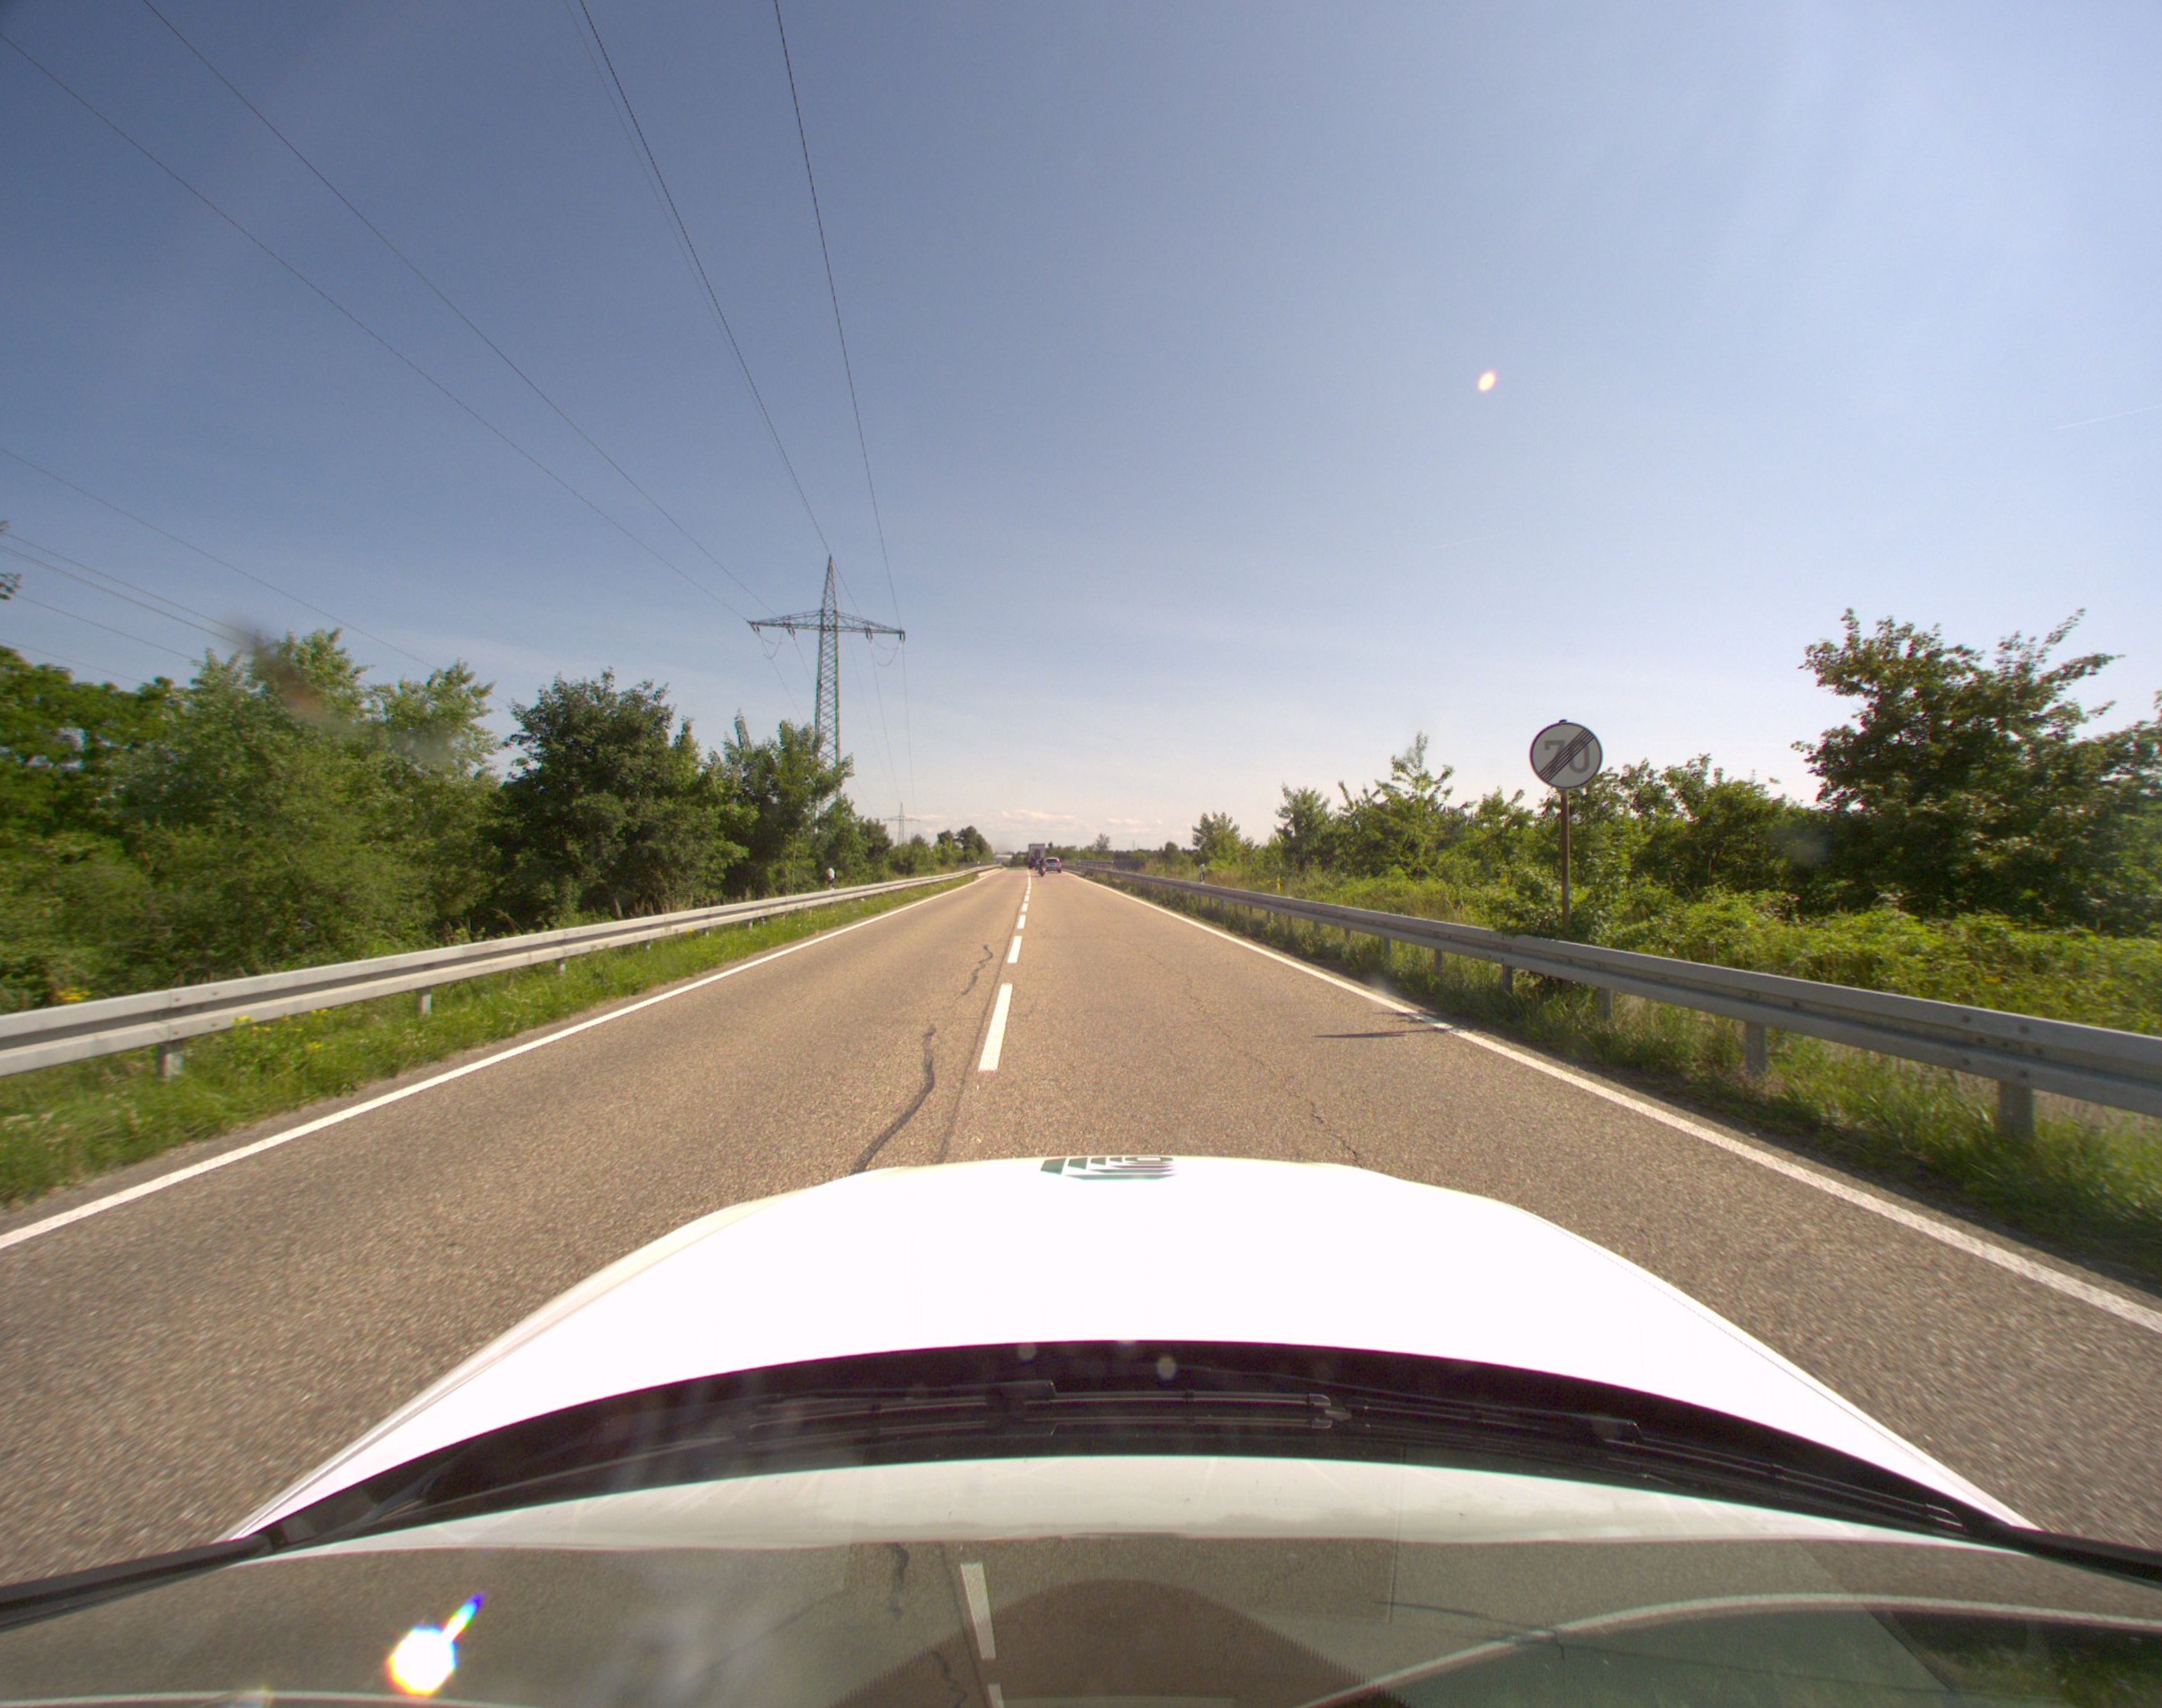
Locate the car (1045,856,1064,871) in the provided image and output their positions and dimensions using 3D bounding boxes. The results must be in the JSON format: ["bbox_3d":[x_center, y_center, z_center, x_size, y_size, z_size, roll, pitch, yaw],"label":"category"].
[{"bbox_3d":[-2.763,0.973,83.947,1.821,1.451,3.995,-1,0,-3],"label":"car"}]

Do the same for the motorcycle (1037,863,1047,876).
[{"bbox_3d":[-3.249,1.295,68.509,0.778,0.975,2.359,-1,0,-2],"label":"motorcycle"}]

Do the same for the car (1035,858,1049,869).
[{"bbox_3d":[-5.176,1.269,108.330,1.861,1.420,3.996,0,0,-3],"label":"car"}]

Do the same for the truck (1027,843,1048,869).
[{"bbox_3d":[-7.188,0.352,133.427,3.235,3.979,9.432,-1,-1,-3],"label":"truck"}]

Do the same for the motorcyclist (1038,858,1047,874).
[{"bbox_3d":[-3.244,0.992,68.531,0.778,1.325,0.812,-1,0,-3],"label":"motorcyclist"}]
